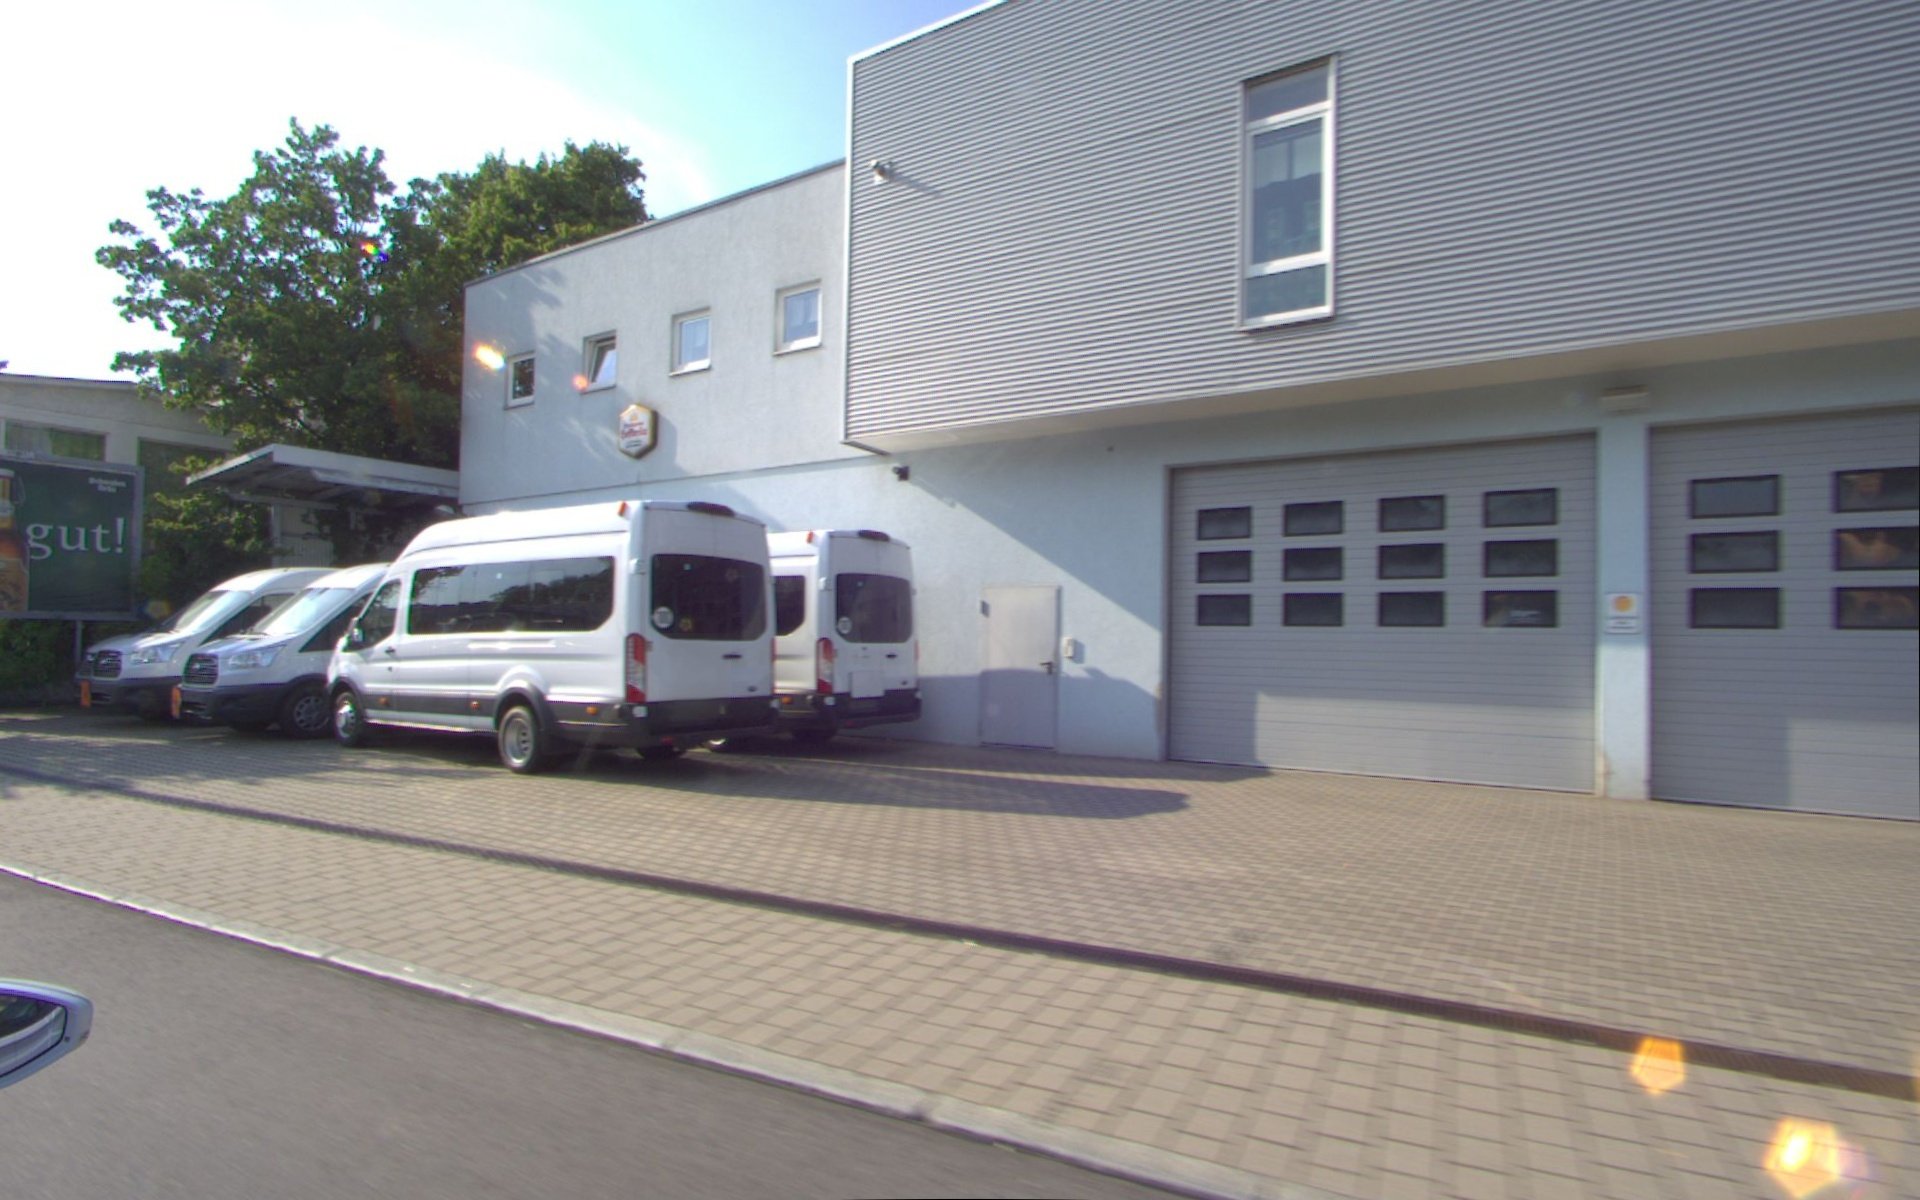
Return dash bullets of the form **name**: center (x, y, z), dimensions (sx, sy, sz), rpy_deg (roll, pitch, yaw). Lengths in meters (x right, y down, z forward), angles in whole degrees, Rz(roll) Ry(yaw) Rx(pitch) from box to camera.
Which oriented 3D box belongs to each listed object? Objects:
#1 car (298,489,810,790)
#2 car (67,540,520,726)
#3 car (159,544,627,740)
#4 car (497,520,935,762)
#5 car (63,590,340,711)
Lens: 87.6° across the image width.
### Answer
- **car**: center (-4.959, 0.407, 11.708), dimensions (6.508, 2.715, 2.146), rpy_deg (0, -2, 33)
- **car**: center (-10.741, 0.567, 16.842), dimensions (2.014, 2.548, 6.036), rpy_deg (0, -2, 31)
- **car**: center (-8.229, 0.631, 15.387), dimensions (2.014, 2.393, 6.036), rpy_deg (0, -2, 31)
- **car**: center (-3.586, 0.515, 14.009), dimensions (6.350, 2.756, 2.108), rpy_deg (0, -2, 32)
- **car**: center (-13.375, 0.874, 17.870), dimensions (1.563, 1.918, 3.596), rpy_deg (0, -2, 30)
